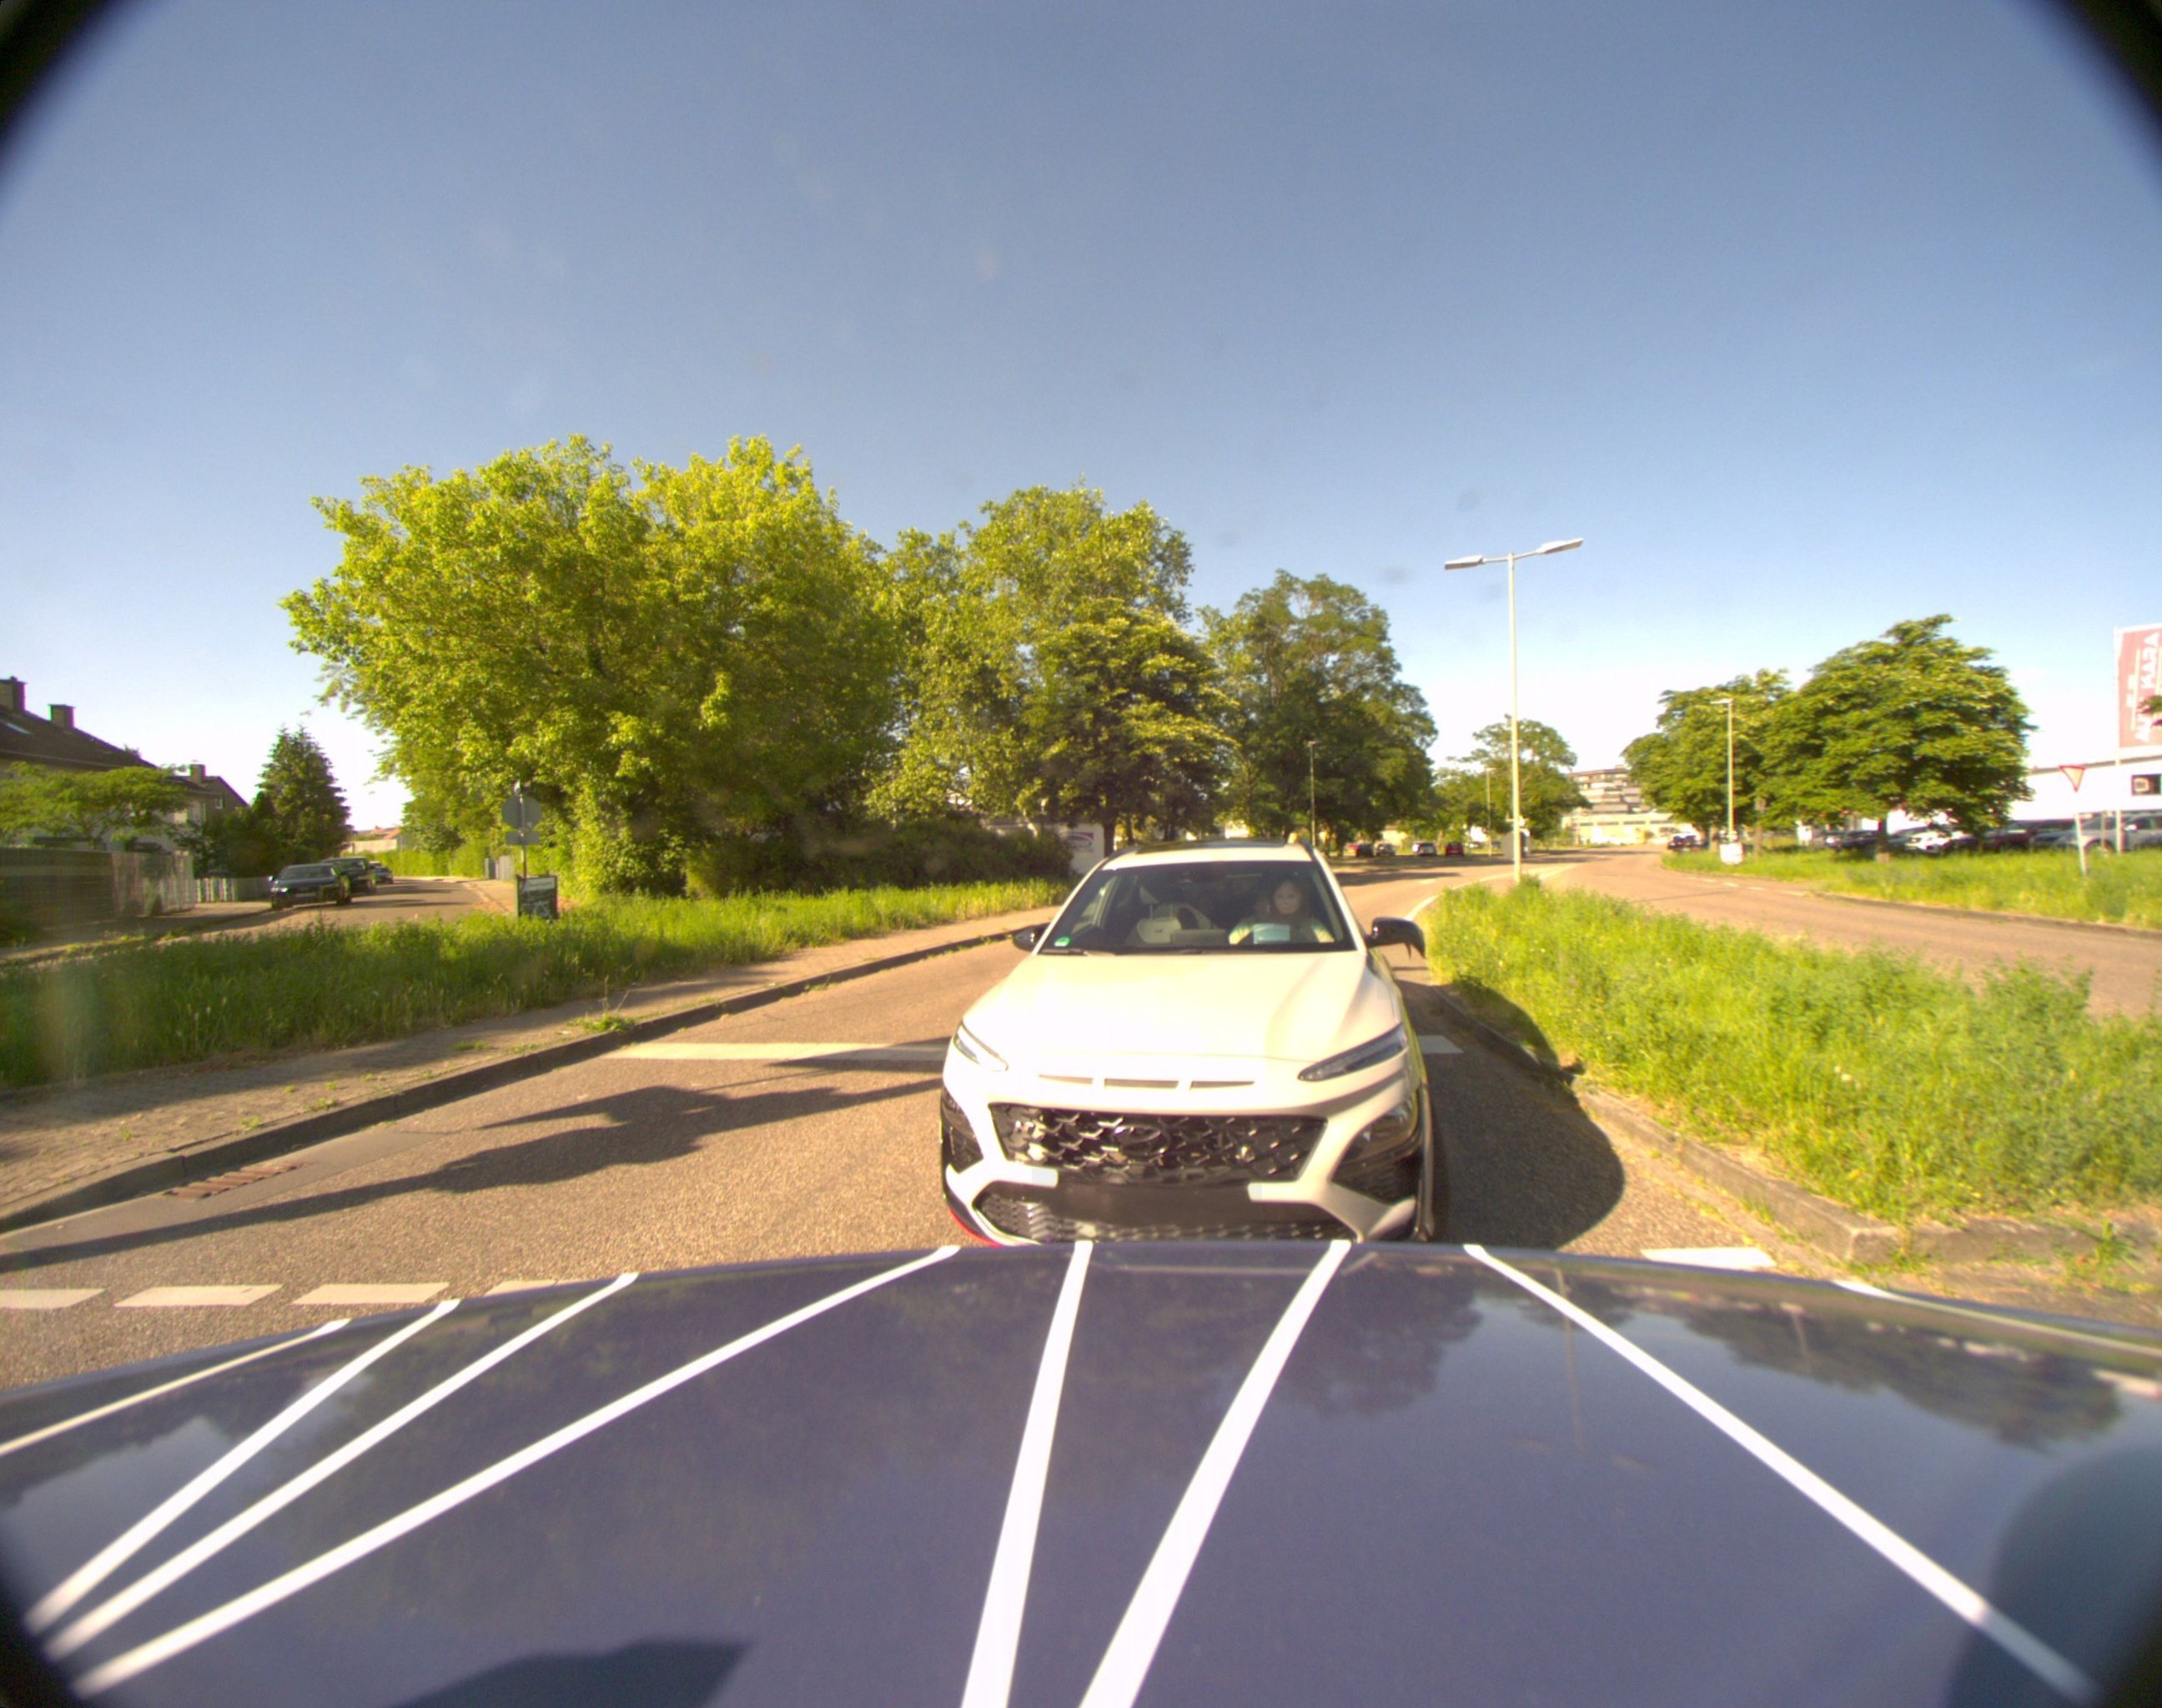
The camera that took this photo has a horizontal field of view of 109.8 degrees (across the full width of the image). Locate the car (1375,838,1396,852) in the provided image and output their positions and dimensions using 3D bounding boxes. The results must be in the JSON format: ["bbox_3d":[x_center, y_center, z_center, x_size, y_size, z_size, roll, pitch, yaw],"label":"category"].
[{"bbox_3d":[32.540,-0.962,81.173,1.868,1.432,3.488,1,2,24],"label":"car"}]

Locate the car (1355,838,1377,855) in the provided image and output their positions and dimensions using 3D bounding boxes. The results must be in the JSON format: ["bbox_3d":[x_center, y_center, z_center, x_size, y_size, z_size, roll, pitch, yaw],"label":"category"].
[{"bbox_3d":[28.613,-0.814,76.208,1.733,1.610,4.006,1,2,24],"label":"car"}]

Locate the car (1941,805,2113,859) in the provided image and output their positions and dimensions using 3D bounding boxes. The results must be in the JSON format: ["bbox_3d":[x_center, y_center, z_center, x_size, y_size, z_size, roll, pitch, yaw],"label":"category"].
[{"bbox_3d":[38.360,-0.863,30.943,3.993,2.002,2.002,-1,1,14],"label":"car"}]

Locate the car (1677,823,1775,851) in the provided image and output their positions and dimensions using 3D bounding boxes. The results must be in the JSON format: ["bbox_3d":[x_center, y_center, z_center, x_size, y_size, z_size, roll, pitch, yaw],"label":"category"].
[{"bbox_3d":[37.576,-0.977,44.408,3.990,1.521,1.932,-1,1,27],"label":"car"}]

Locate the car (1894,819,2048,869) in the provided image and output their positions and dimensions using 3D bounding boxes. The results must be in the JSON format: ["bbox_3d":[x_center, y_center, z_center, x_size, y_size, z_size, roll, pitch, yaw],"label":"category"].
[{"bbox_3d":[39.081,-0.424,33.472,3.993,2.002,2.002,-2,1,13],"label":"car"}]

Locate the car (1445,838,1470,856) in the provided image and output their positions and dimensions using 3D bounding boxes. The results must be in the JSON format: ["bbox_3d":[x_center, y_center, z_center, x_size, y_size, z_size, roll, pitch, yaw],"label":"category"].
[{"bbox_3d":[36.351,-0.721,73.467,1.995,1.657,4.006,1,2,24],"label":"car"}]

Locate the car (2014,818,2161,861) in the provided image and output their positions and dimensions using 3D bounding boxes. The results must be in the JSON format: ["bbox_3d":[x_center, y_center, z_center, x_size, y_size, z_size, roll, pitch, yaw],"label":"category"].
[{"bbox_3d":[37.631,-0.543,27.862,3.992,1.400,1.841,-2,1,15],"label":"car"}]

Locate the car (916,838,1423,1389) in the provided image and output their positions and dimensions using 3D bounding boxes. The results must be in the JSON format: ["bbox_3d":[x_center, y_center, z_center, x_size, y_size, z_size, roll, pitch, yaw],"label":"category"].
[{"bbox_3d":[0.827,0.783,4.525,1.712,1.636,4.058,-1,2,17],"label":"car"}]

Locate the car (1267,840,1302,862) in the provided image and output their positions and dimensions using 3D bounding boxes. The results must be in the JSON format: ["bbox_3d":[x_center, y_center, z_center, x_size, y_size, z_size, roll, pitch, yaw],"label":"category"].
[{"bbox_3d":[17.824,-0.259,66.434,2.005,1.785,4.006,-2,1,28],"label":"car"}]

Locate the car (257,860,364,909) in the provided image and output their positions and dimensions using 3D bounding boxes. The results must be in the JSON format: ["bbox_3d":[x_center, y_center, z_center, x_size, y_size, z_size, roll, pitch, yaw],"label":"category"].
[{"bbox_3d":[-28.030,1.047,27.802,2.003,1.547,3.989,-3,1,-35],"label":"car"}]

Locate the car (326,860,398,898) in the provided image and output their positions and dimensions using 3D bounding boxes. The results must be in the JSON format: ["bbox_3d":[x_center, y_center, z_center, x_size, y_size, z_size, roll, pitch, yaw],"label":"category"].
[{"bbox_3d":[-35.195,1.186,37.305,1.967,1.657,3.989,-3,2,-35],"label":"car"}]

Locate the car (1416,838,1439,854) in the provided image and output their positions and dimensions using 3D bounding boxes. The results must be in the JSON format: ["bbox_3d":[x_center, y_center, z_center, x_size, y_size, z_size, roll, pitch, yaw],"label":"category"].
[{"bbox_3d":[33.987,-0.796,74.645,1.995,1.442,4.006,1,2,24],"label":"car"}]
